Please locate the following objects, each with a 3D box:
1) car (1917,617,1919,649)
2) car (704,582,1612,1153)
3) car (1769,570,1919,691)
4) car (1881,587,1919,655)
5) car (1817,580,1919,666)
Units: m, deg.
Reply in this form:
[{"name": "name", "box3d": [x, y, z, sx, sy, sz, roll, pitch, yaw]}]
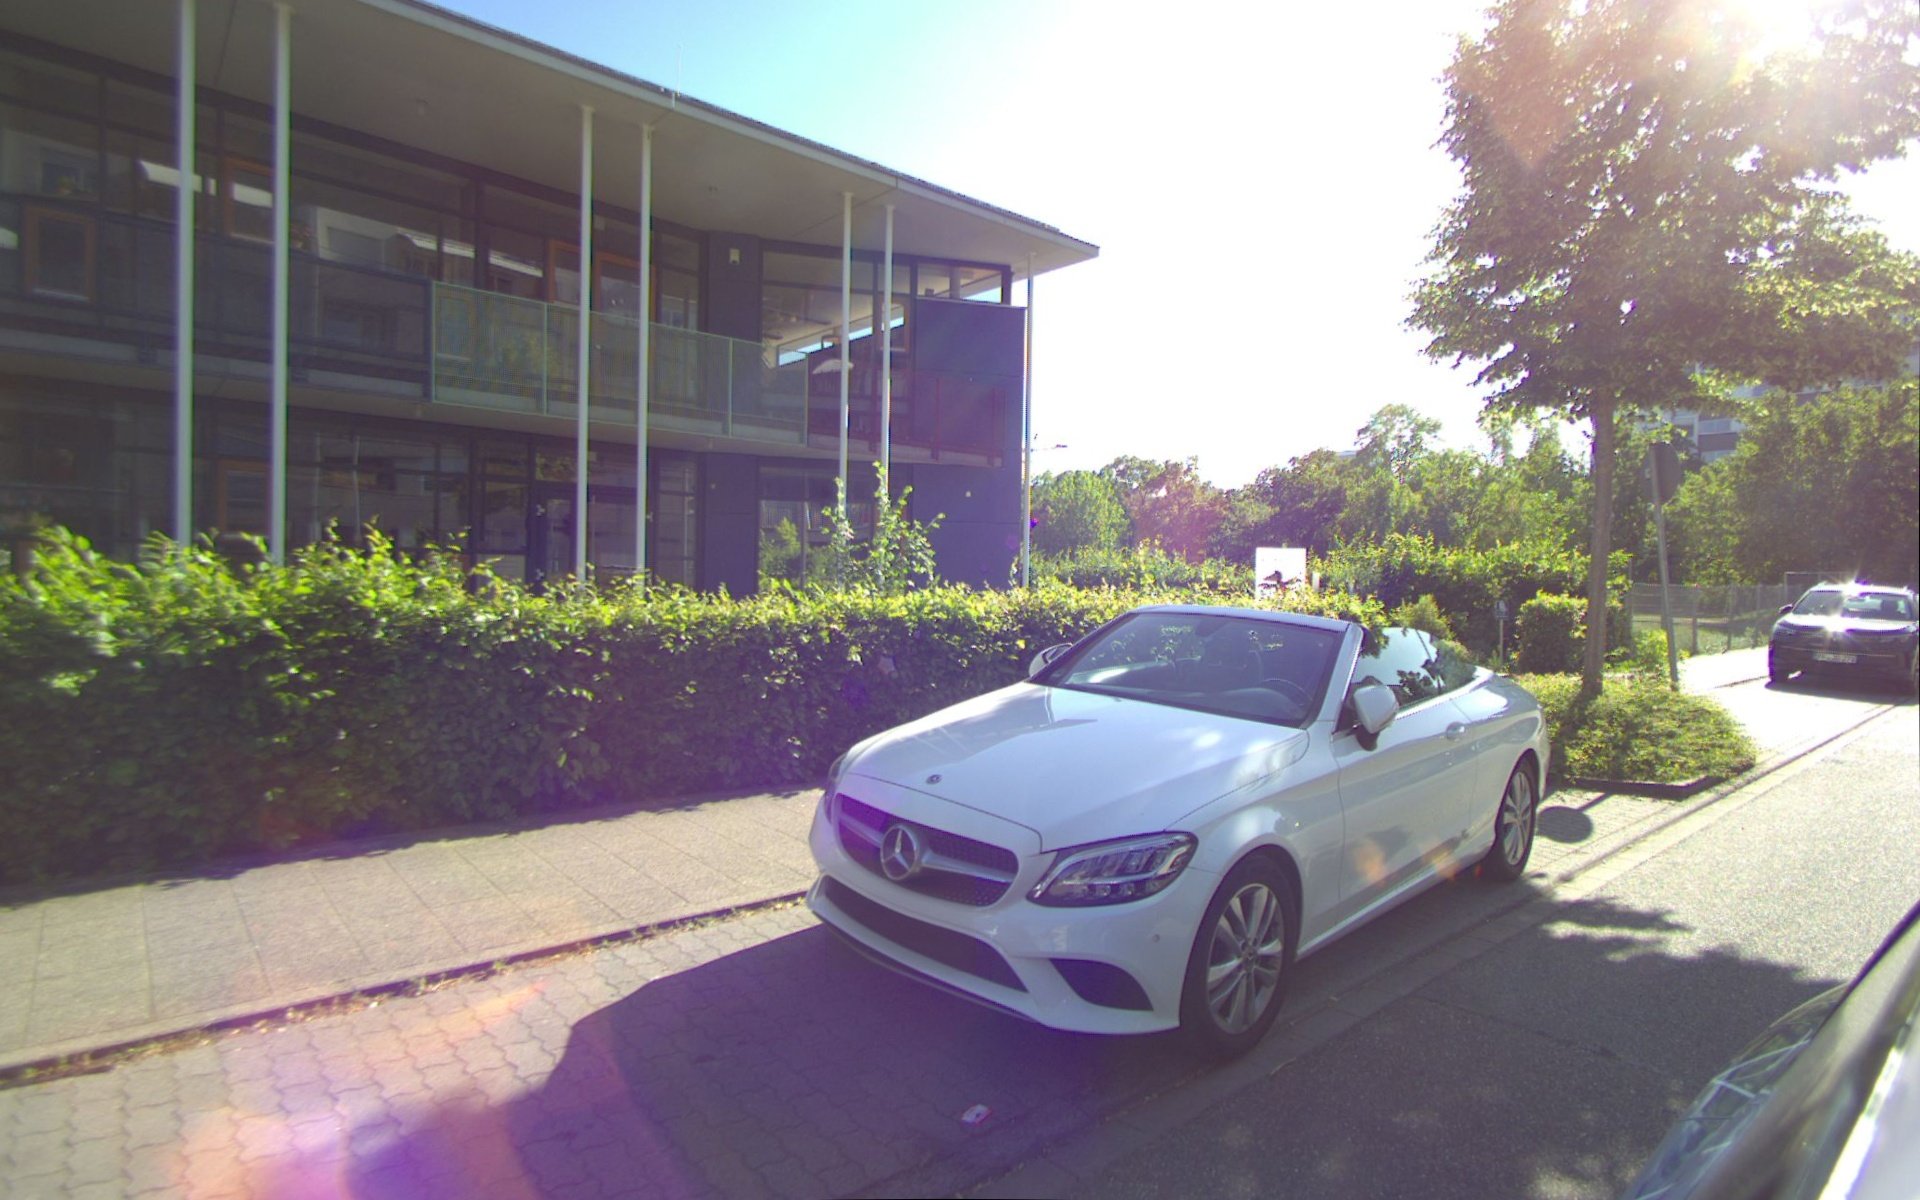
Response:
[{"name": "car", "box3d": [28.448, 0.652, 28.588, 3.640, 1.484, 1.644, -2, 6, -41]}, {"name": "car", "box3d": [1.366, 0.659, 4.907, 4.698, 1.335, 1.965, 0, 4, -44]}, {"name": "car", "box3d": [15.234, 0.429, 16.928, 4.410, 1.667, 1.823, 0, 5, -41]}, {"name": "car", "box3d": [24.153, 0.519, 24.819, 3.776, 1.484, 1.823, -2, 6, -41]}, {"name": "car", "box3d": [18.852, 0.425, 20.375, 3.775, 1.484, 1.823, 0, 5, -41]}]
